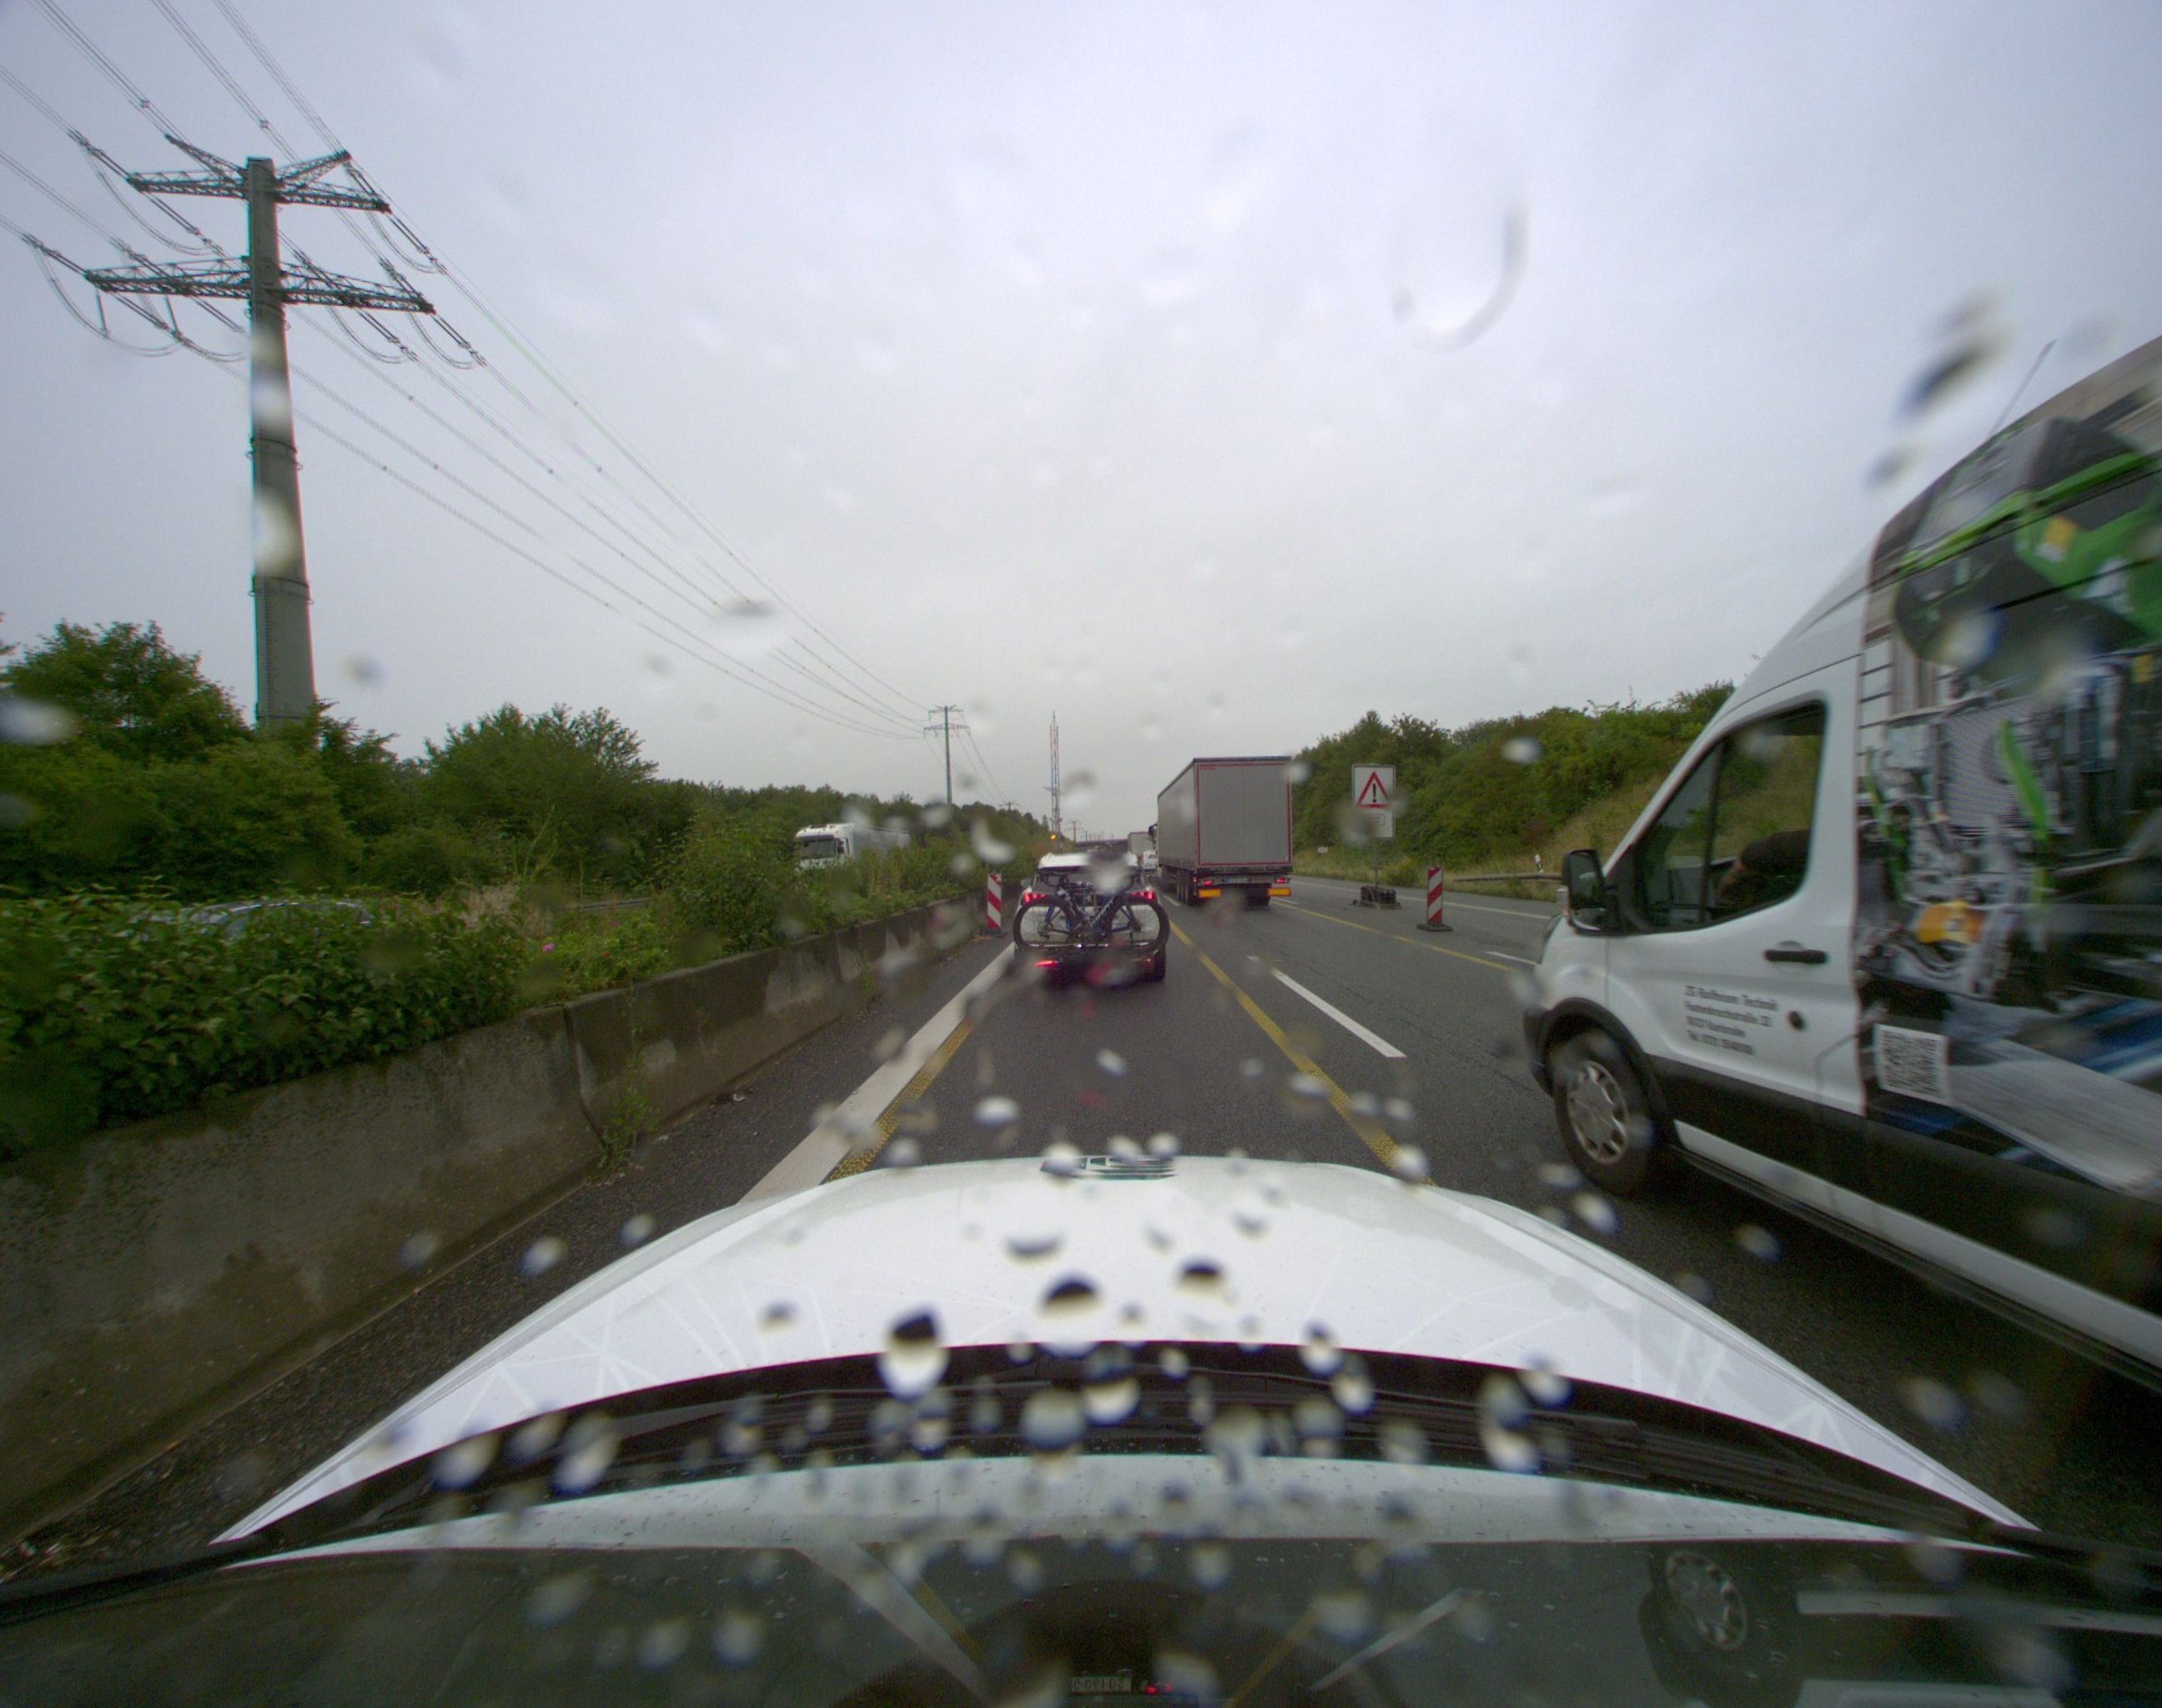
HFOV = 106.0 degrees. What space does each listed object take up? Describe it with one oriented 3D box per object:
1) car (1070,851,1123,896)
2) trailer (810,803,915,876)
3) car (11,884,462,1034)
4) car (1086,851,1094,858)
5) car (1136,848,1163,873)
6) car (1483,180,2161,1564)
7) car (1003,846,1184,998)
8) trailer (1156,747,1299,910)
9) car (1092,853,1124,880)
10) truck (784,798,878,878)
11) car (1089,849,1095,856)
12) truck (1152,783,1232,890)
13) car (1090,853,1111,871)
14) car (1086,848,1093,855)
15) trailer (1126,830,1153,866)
[{"bbox_3d":[0.593,0.691,30.555,1.843,1.531,4.001,-1,0,1],"label":"car"},{"bbox_3d":[-13.861,-0.828,53.288,2.776,4.023,13.253,-4,0,1],"label":"trailer"},{"bbox_3d":[-11.125,1.264,11.259,1.986,1.527,4.001,-1,0,1],"label":"car"},{"bbox_3d":[2.493,0.156,227.826,1.924,1.973,4.002,-1,1,1],"label":"car"},{"bbox_3d":[5.432,0.505,64.770,1.822,1.839,4.657,-1,0,1],"label":"car"},{"bbox_3d":[3.163,0.033,1.528,1.987,2.782,5.757,-1,0,1],"label":"car"},{"bbox_3d":[0.192,0.705,10.794,1.843,1.531,4.770,-1,0,1],"label":"car"},{"bbox_3d":[4.414,-0.651,27.846,2.696,4.146,13.736,-1,0,2],"label":"trailer"},{"bbox_3d":[1.635,0.725,49.168,1.843,1.531,4.001,-1,0,1],"label":"car"},{"bbox_3d":[-14.068,-0.824,46.486,2.776,4.023,7.234,-4,0,1],"label":"truck"},{"bbox_3d":[3.288,-0.491,245.985,1.924,1.910,4.002,-1,1,1],"label":"car"},{"bbox_3d":[4.605,-0.689,34.691,2.696,4.138,5.692,-1,0,1],"label":"truck"},{"bbox_3d":[1.729,0.699,71.846,1.843,1.531,4.001,-1,0,1],"label":"car"},{"bbox_3d":[2.657,-0.836,258.930,1.924,1.973,4.002,-1,1,1],"label":"car"},{"bbox_3d":[7.037,-0.706,99.320,2.683,4.076,13.637,-1,0,2],"label":"trailer"}]
